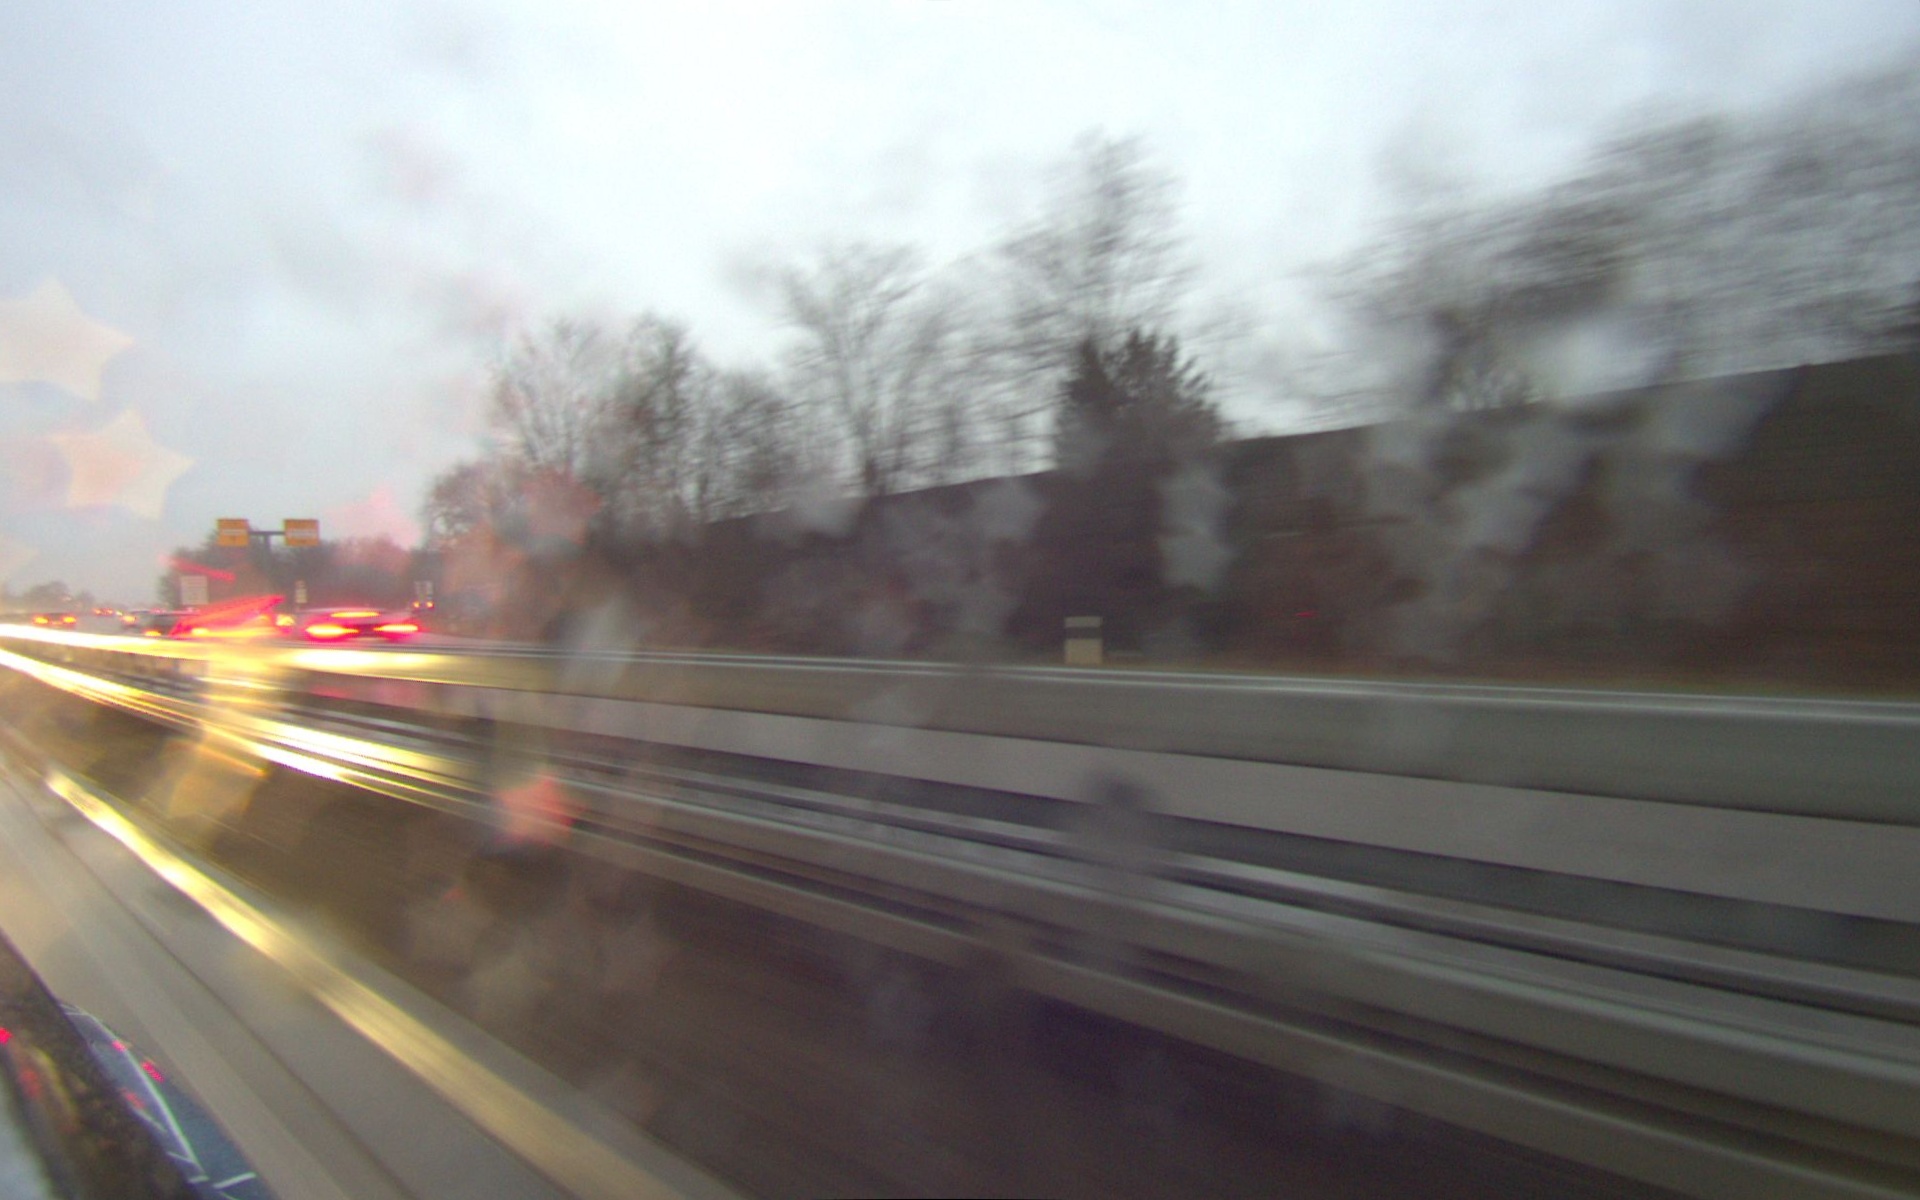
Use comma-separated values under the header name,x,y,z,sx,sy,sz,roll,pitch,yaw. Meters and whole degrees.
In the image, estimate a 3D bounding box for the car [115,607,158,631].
name,x,y,z,sx,sy,sz,roll,pitch,yaw
car,-57.446,1.321,70.606,4.851,1.578,1.685,-1,1,43

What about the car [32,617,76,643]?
name,x,y,z,sx,sy,sz,roll,pitch,yaw
car,-55.741,1.824,62.235,4.600,1.495,1.598,-1,1,43

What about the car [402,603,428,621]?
name,x,y,z,sx,sy,sz,roll,pitch,yaw
car,-61.202,1.298,113.711,1.965,1.928,4.460,-2,1,-21

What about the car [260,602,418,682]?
name,x,y,z,sx,sy,sz,roll,pitch,yaw
car,-13.435,0.849,21.814,4.133,1.521,1.764,-1,1,42

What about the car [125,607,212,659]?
name,x,y,z,sx,sy,sz,roll,pitch,yaw
car,-25.597,1.029,32.691,3.504,1.530,1.636,-1,1,43
